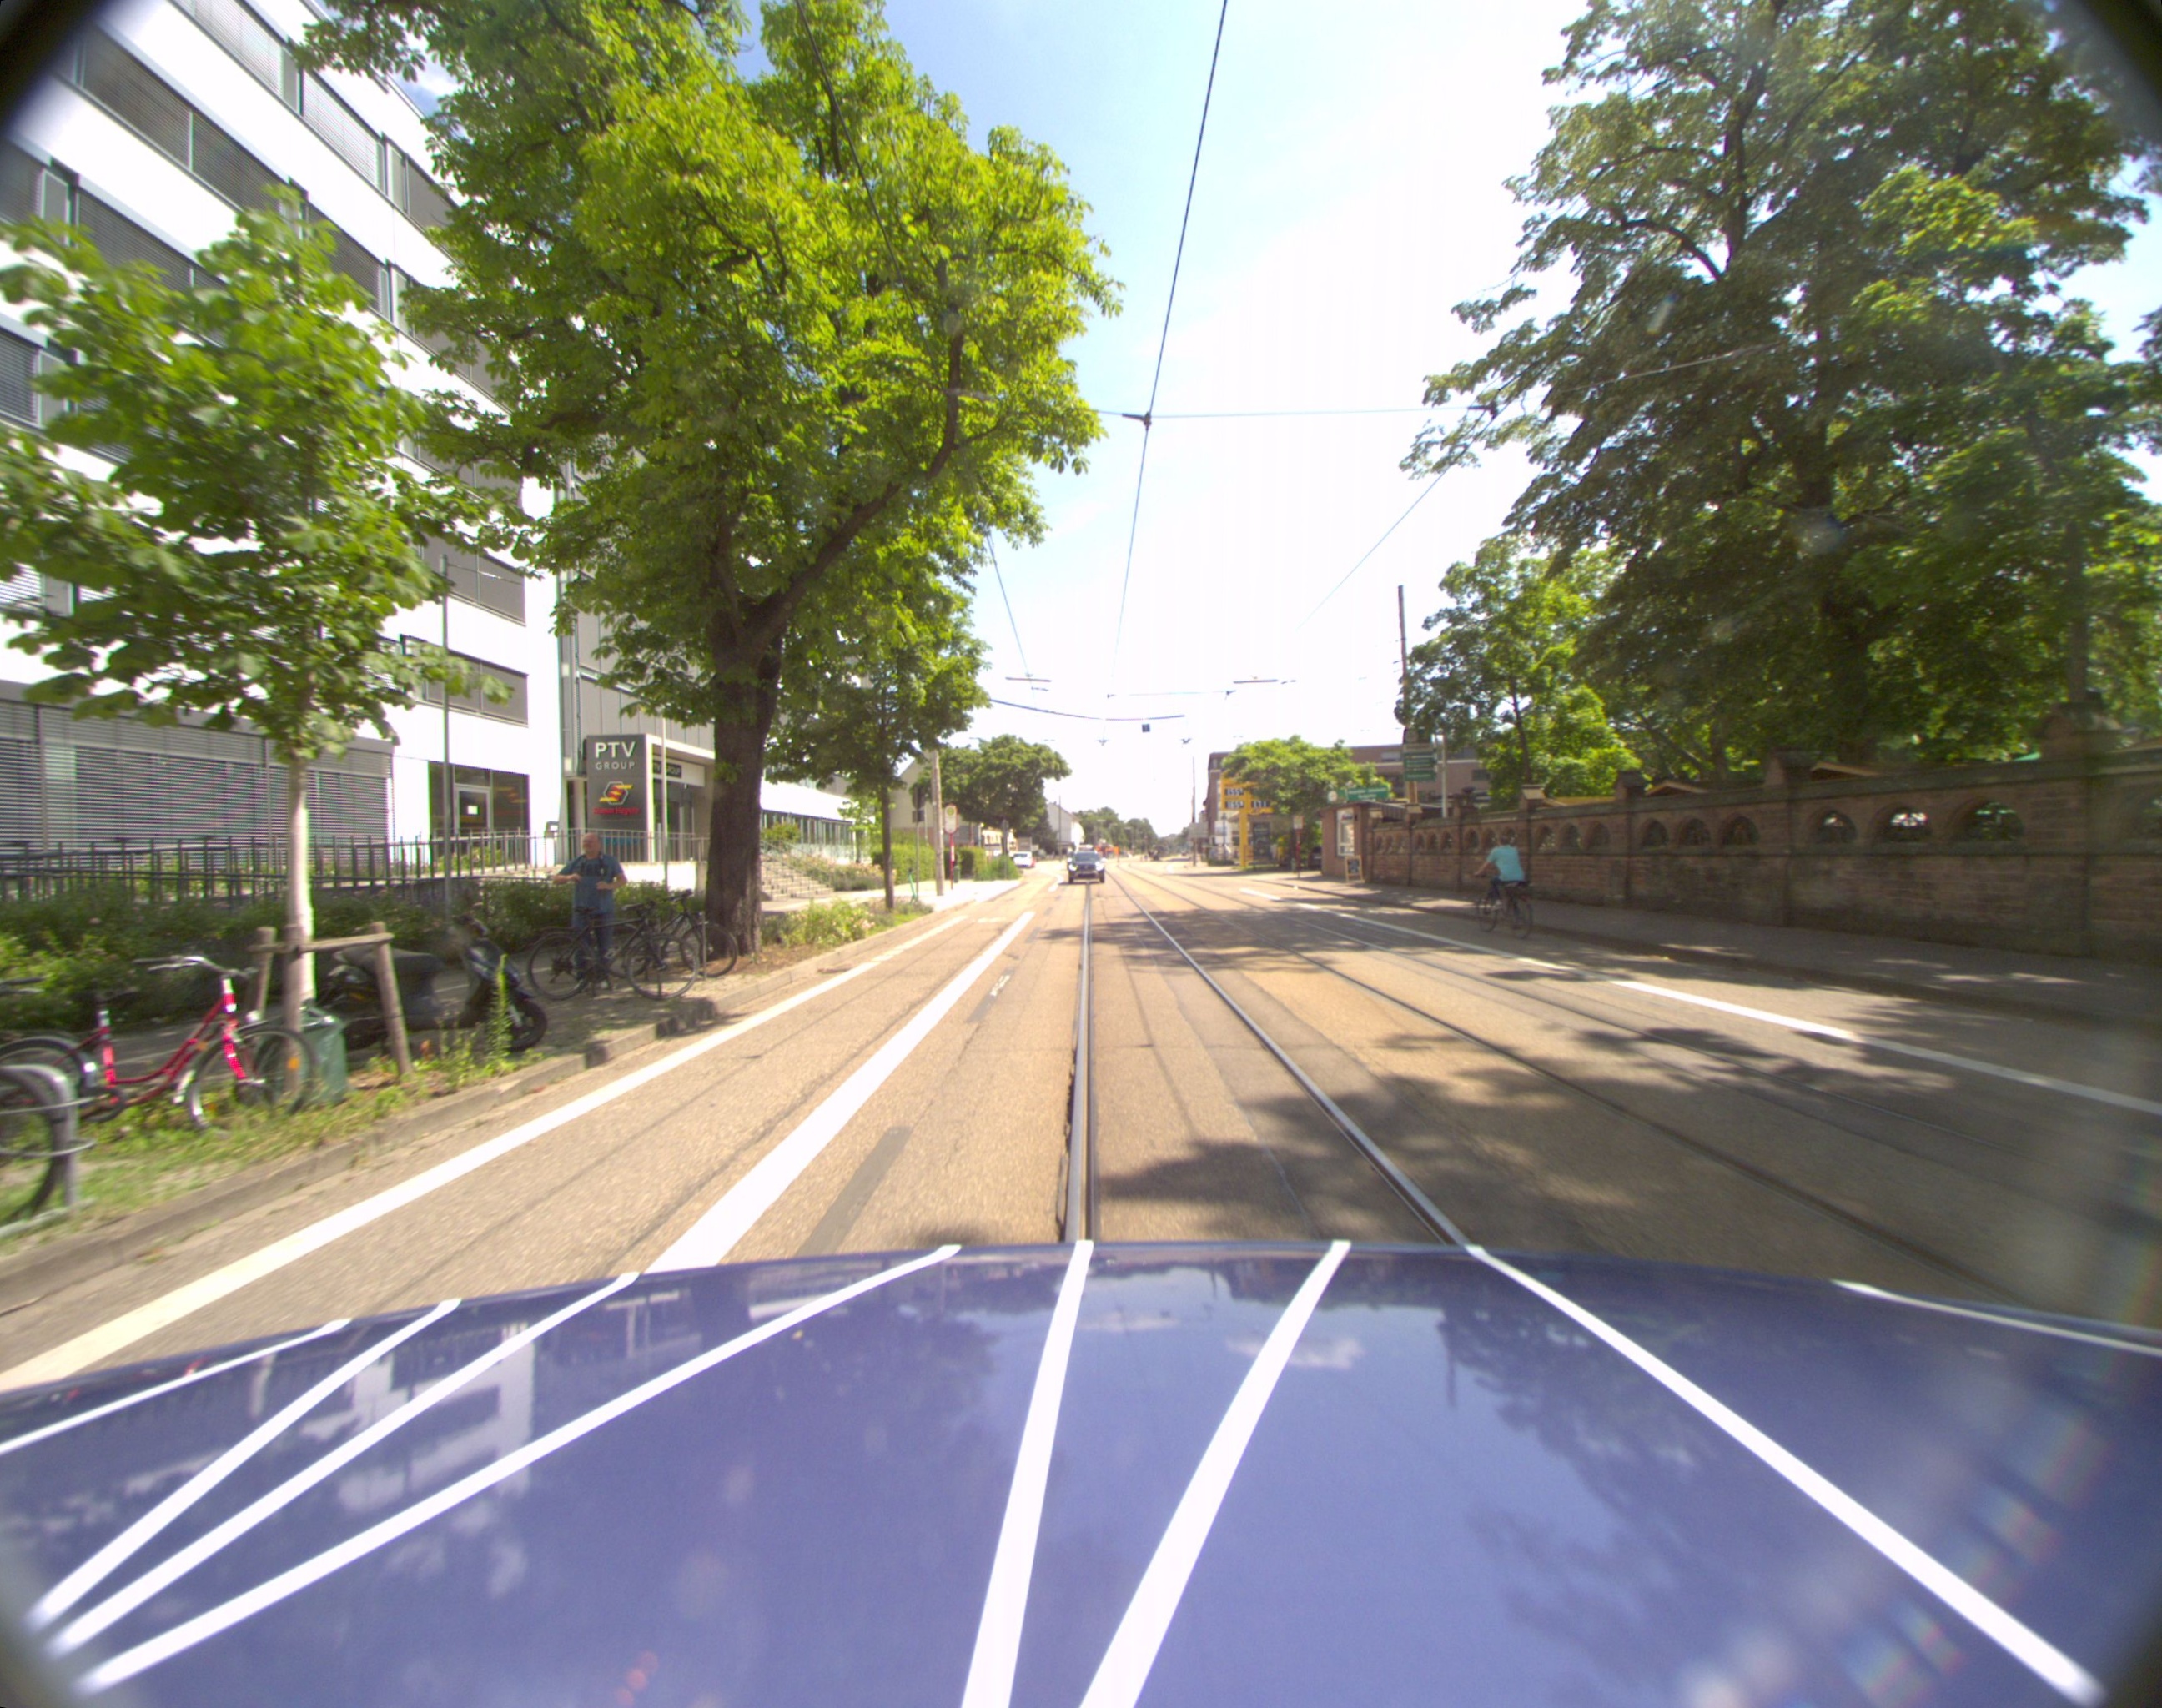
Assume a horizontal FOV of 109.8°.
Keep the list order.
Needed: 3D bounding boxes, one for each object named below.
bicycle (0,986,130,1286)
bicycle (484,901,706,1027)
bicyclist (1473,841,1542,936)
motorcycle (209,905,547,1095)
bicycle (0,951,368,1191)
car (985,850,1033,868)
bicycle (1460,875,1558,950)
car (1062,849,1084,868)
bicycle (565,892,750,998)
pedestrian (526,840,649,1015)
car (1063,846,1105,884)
[{"bbox_3d":[-5.172,1.182,3.062,1.812,1.105,0.569,-3,1,-3],"label":"bicycle"},{"bbox_3d":[-5.067,1.126,8.029,1.819,1.158,0.710,-1,1,-7],"label":"bicycle"},{"bbox_3d":[7.503,0.588,13.394,0.665,1.616,0.919,1,1,1],"label":"bicyclist"},{"bbox_3d":[-5.348,1.077,5.893,1.819,1.269,0.720,-1,1,-7],"label":"motorcycle"},{"bbox_3d":[-5.211,1.177,4.243,1.812,1.105,0.569,-3,1,-3],"label":"bicycle"},{"bbox_3d":[-8.106,0.546,85.770,5.214,1.732,1.999,-2,1,-3],"label":"car"},{"bbox_3d":[7.497,0.981,13.422,0.661,1.156,1.895,1,1,1],"label":"bicycle"},{"bbox_3d":[-0.727,0.397,72.521,1.998,1.732,4.226,-2,1,1],"label":"car"},{"bbox_3d":[-5.144,1.092,9.335,1.819,1.158,0.710,-1,1,-7],"label":"bicycle"},{"bbox_3d":[-5.556,0.766,8.553,0.986,1.822,0.786,-2,1,-42],"label":"pedestrian"},{"bbox_3d":[0.171,0.518,38.901,1.998,1.732,4.226,-2,1,1],"label":"car"}]
